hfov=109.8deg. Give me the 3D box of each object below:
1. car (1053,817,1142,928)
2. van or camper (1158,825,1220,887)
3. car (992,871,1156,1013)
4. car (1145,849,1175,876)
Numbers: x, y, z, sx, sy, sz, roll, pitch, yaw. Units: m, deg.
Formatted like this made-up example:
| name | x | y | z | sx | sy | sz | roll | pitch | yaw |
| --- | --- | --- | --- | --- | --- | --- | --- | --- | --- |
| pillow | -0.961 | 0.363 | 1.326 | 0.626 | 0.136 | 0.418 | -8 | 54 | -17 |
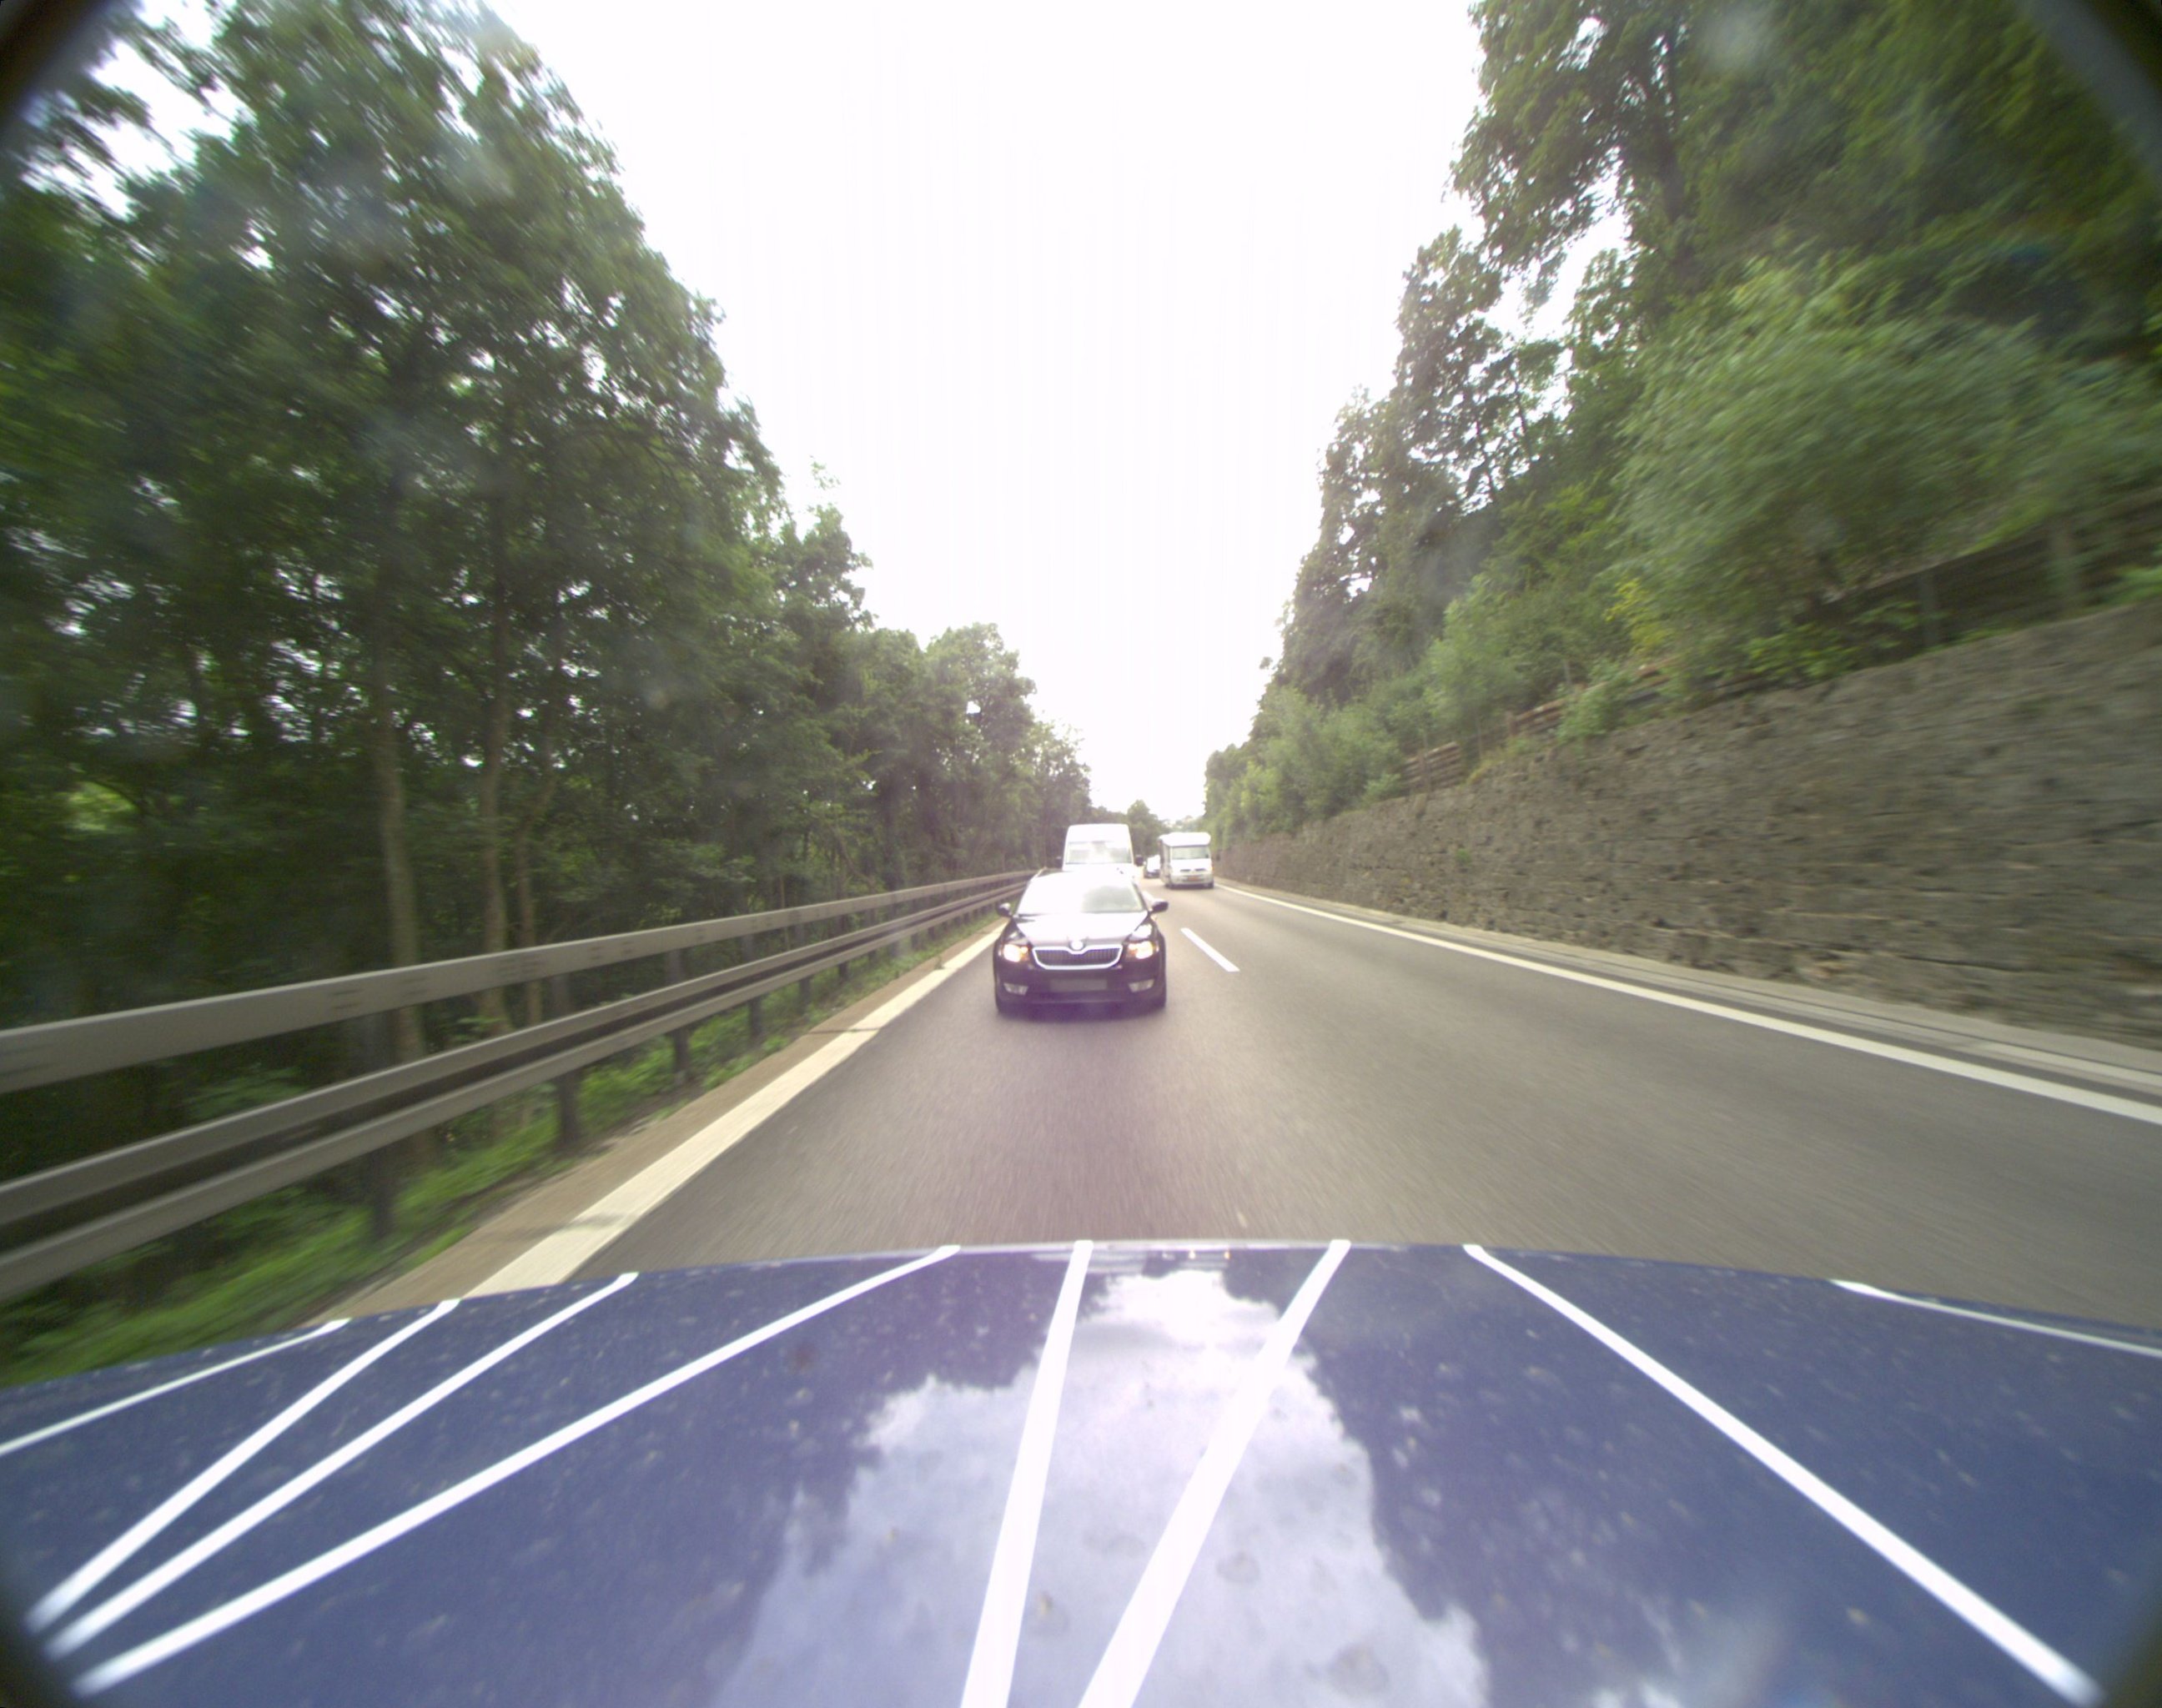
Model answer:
| name | x | y | z | sx | sy | sz | roll | pitch | yaw |
| --- | --- | --- | --- | --- | --- | --- | --- | --- | --- |
| car | 0.498 | 0.429 | 20.580 | 2.000 | 2.545 | 5.128 | -2 | 1 | 2 |
| van or camper | 5.203 | 0.074 | 37.578 | 2.270 | 2.719 | 7.025 | -2 | 0 | 3 |
| car | -0.048 | 1.019 | 10.589 | 1.751 | 1.409 | 4.401 | -2 | 0 | 1 |
| car | 5.667 | 0.602 | 54.808 | 1.808 | 1.772 | 4.000 | -2 | 0 | 2 |
